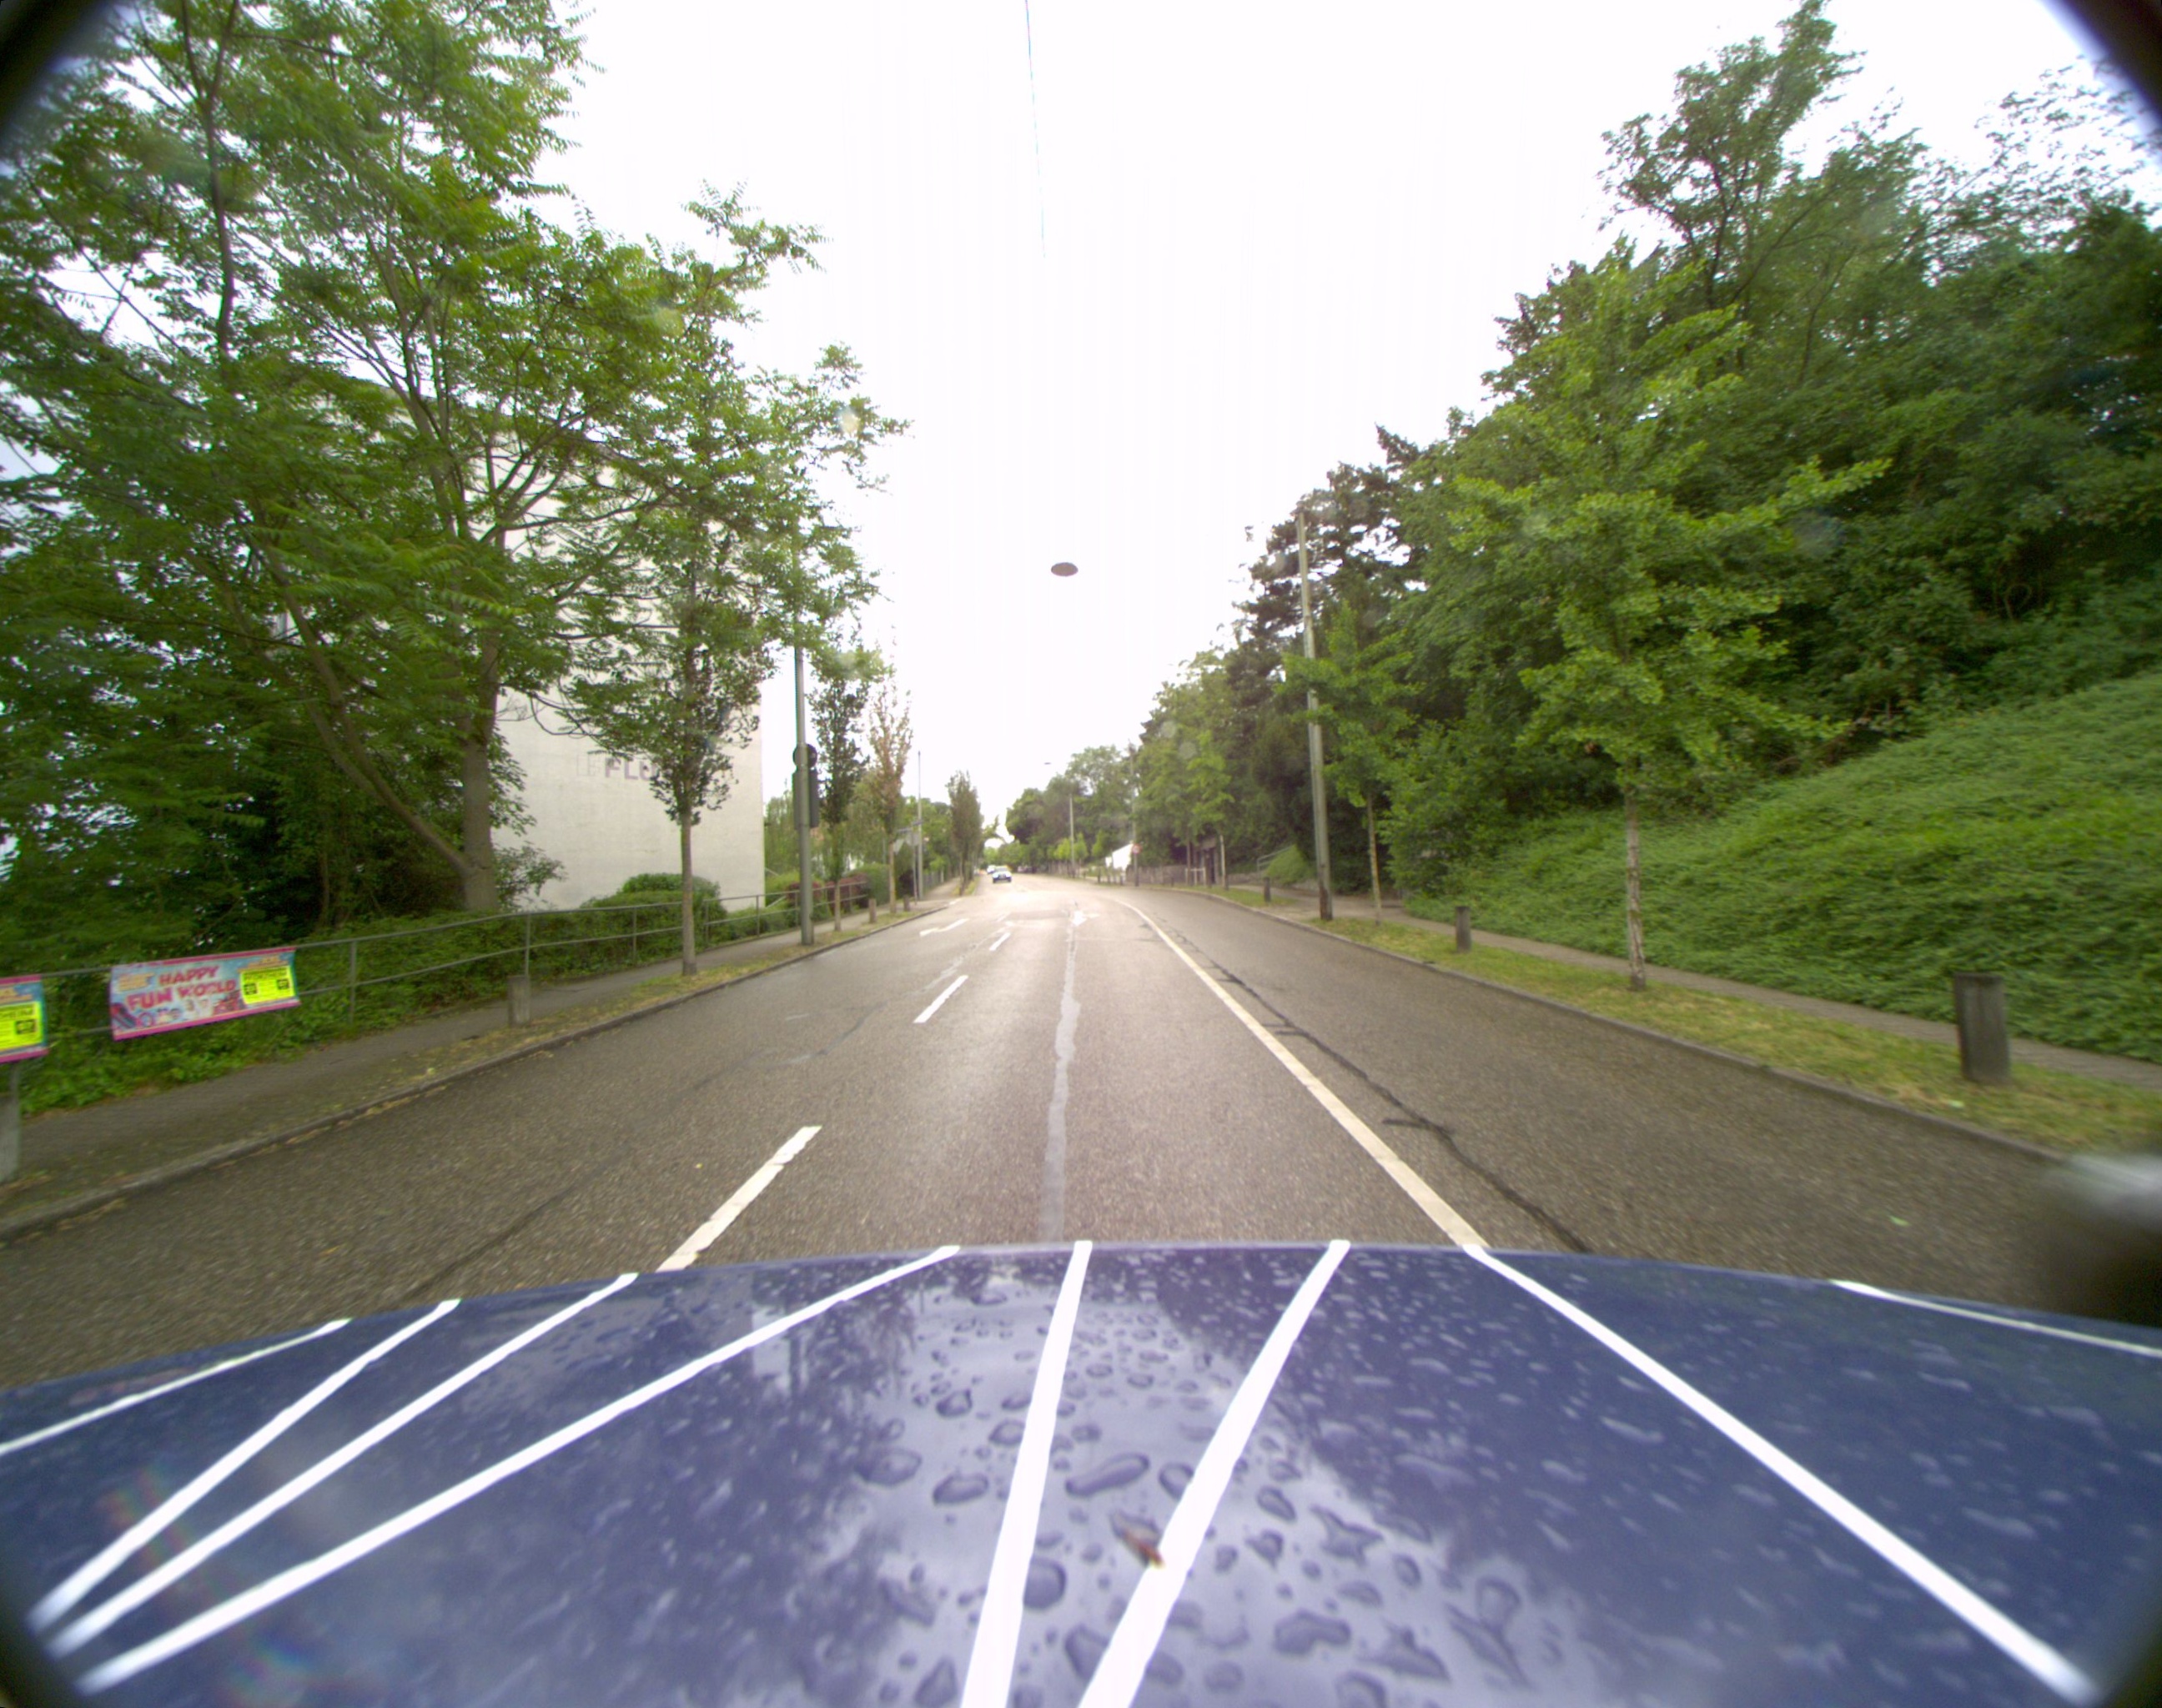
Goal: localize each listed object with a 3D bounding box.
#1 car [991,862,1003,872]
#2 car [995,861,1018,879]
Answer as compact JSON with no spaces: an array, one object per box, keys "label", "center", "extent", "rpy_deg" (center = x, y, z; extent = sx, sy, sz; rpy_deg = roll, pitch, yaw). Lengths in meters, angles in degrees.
[{"label":"car","center":[-15.669,2.402,142.021],"extent":[1.834,1.608,4.350],"rpy_deg":[-2,1,-1]},{"label":"car","center":[-7.643,1.618,78.309],"extent":[1.834,1.608,4.292],"rpy_deg":[-2,1,0]}]
